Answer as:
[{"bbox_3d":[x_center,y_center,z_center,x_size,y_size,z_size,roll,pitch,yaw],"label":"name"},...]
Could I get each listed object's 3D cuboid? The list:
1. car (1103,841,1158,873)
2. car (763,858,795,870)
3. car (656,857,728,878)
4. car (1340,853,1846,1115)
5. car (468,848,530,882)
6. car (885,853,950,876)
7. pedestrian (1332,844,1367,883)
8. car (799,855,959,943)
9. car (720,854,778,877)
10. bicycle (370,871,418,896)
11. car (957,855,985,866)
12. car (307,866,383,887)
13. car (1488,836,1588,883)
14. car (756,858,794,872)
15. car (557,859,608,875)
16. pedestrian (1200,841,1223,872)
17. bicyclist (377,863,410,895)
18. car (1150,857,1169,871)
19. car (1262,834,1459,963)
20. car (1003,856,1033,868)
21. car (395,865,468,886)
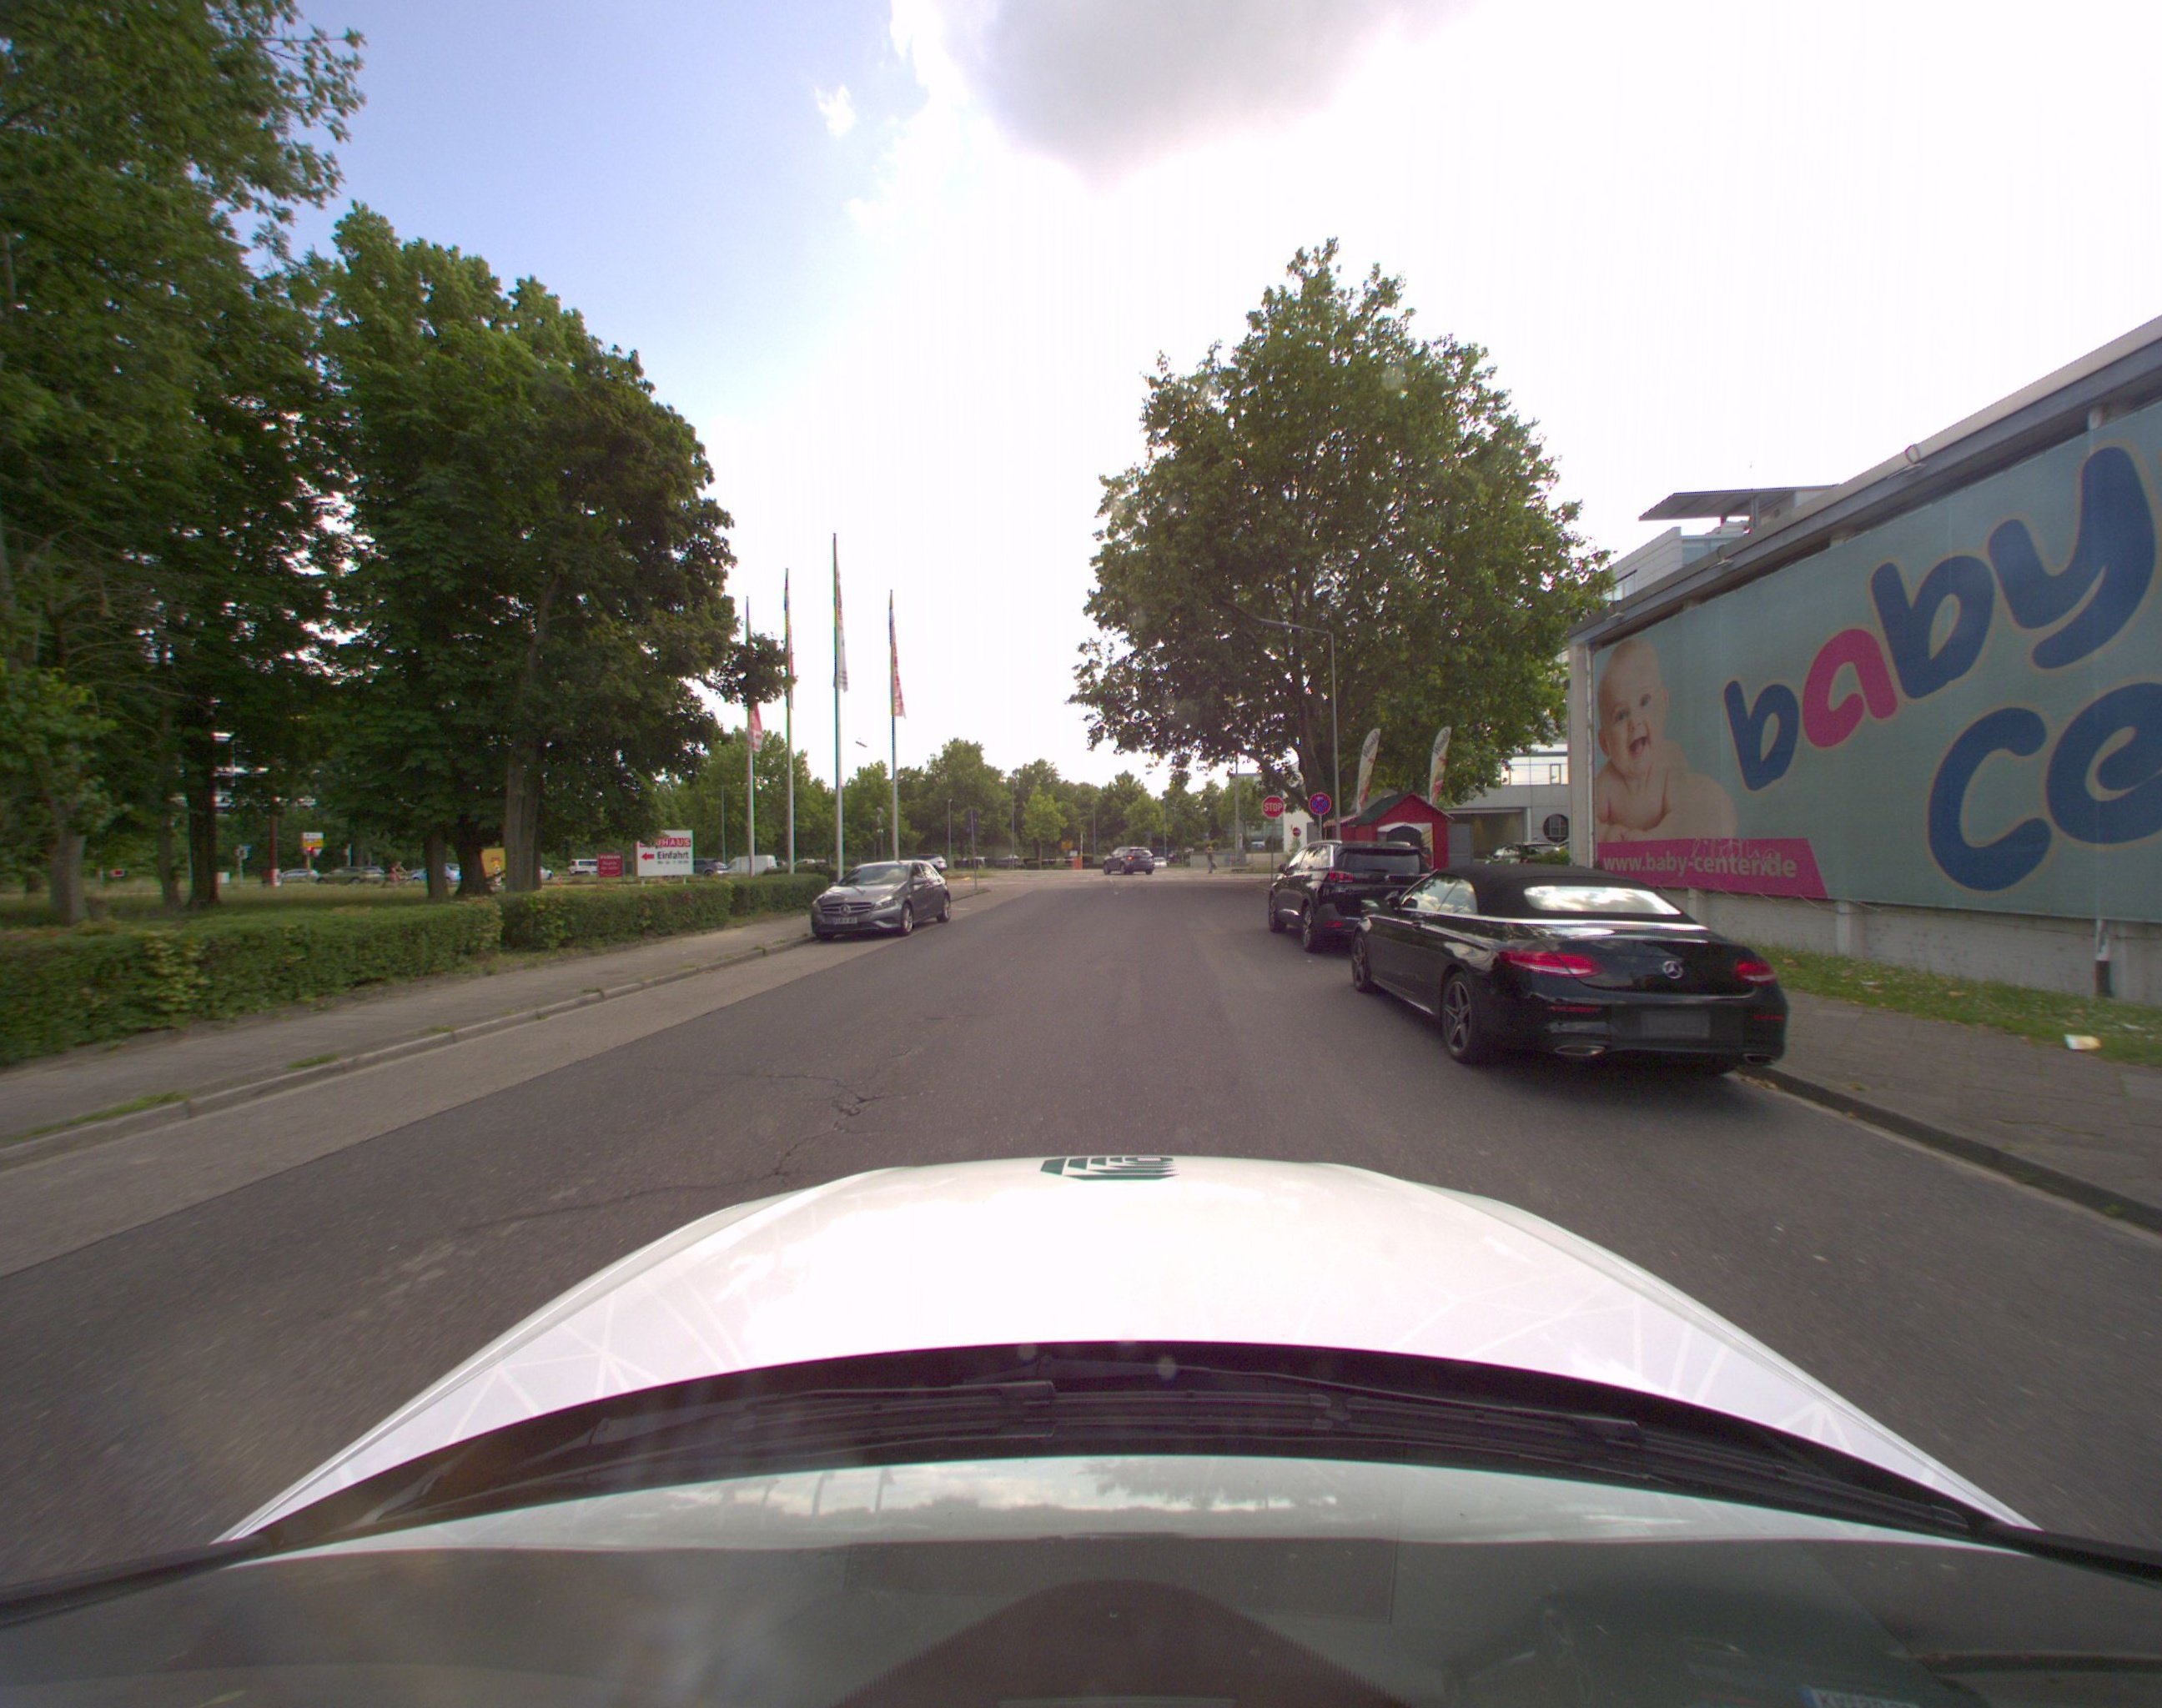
[{"bbox_3d":[2.985,0.171,50.074,1.968,1.815,4.249,-1,0,-19],"label":"car"},{"bbox_3d":[-43.307,1.448,116.853,1.850,1.557,4.025,-1,0,37],"label":"car"},{"bbox_3d":[-28.180,0.975,59.081,4.203,1.406,1.925,-1,0,2],"label":"car"},{"bbox_3d":[3.634,0.729,6.950,1.799,1.391,4.596,2,1,6],"label":"car"},{"bbox_3d":[-46.792,0.914,65.410,6.321,2.578,2.220,-1,-1,37],"label":"car"},{"bbox_3d":[-11.814,0.743,59.060,4.203,1.579,1.925,-1,0,2],"label":"car"},{"bbox_3d":[9.110,0.314,27.681,1.007,1.314,0.968,-1,0,12],"label":"pedestrian"},{"bbox_3d":[-3.937,0.811,16.694,1.701,1.420,4.339,-4,0,6],"label":"car"},{"bbox_3d":[-34.526,1.188,84.712,5.267,2.211,1.798,-1,0,1],"label":"car"},{"bbox_3d":[-36.010,1.534,42.687,1.803,1.166,0.730,-2,1,-1],"label":"bicycle"},{"bbox_3d":[-17.938,0.995,132.867,1.895,1.721,4.327,-1,0,37],"label":"car"},{"bbox_3d":[-54.524,1.682,60.389,4.001,1.406,1.799,-1,0,2],"label":"car"},{"bbox_3d":[15.840,0.175,28.447,1.729,1.512,4.010,-1,0,8],"label":"car"},{"bbox_3d":[-39.620,1.471,105.480,1.895,1.721,4.327,-1,0,37],"label":"car"},{"bbox_3d":[-53.389,1.386,87.313,1.974,1.684,4.289,-1,0,41],"label":"car"},{"bbox_3d":[7.950,0.123,49.583,1.002,1.849,1.224,-1,0,-13],"label":"pedestrian"},{"bbox_3d":[-36.035,1.302,42.691,1.003,1.647,0.734,-2,1,-1],"label":"bicyclist"},{"bbox_3d":[8.177,1.045,84.486,1.921,1.403,4.087,-1,0,6],"label":"car"},{"bbox_3d":[4.234,0.568,13.160,1.800,1.665,4.644,2,1,3],"label":"car"},{"bbox_3d":[-9.039,1.104,116.756,3.948,1.701,1.922,-1,0,36],"label":"car"},{"bbox_3d":[-48.296,1.596,60.619,4.001,1.406,1.799,-1,0,2],"label":"car"}]
